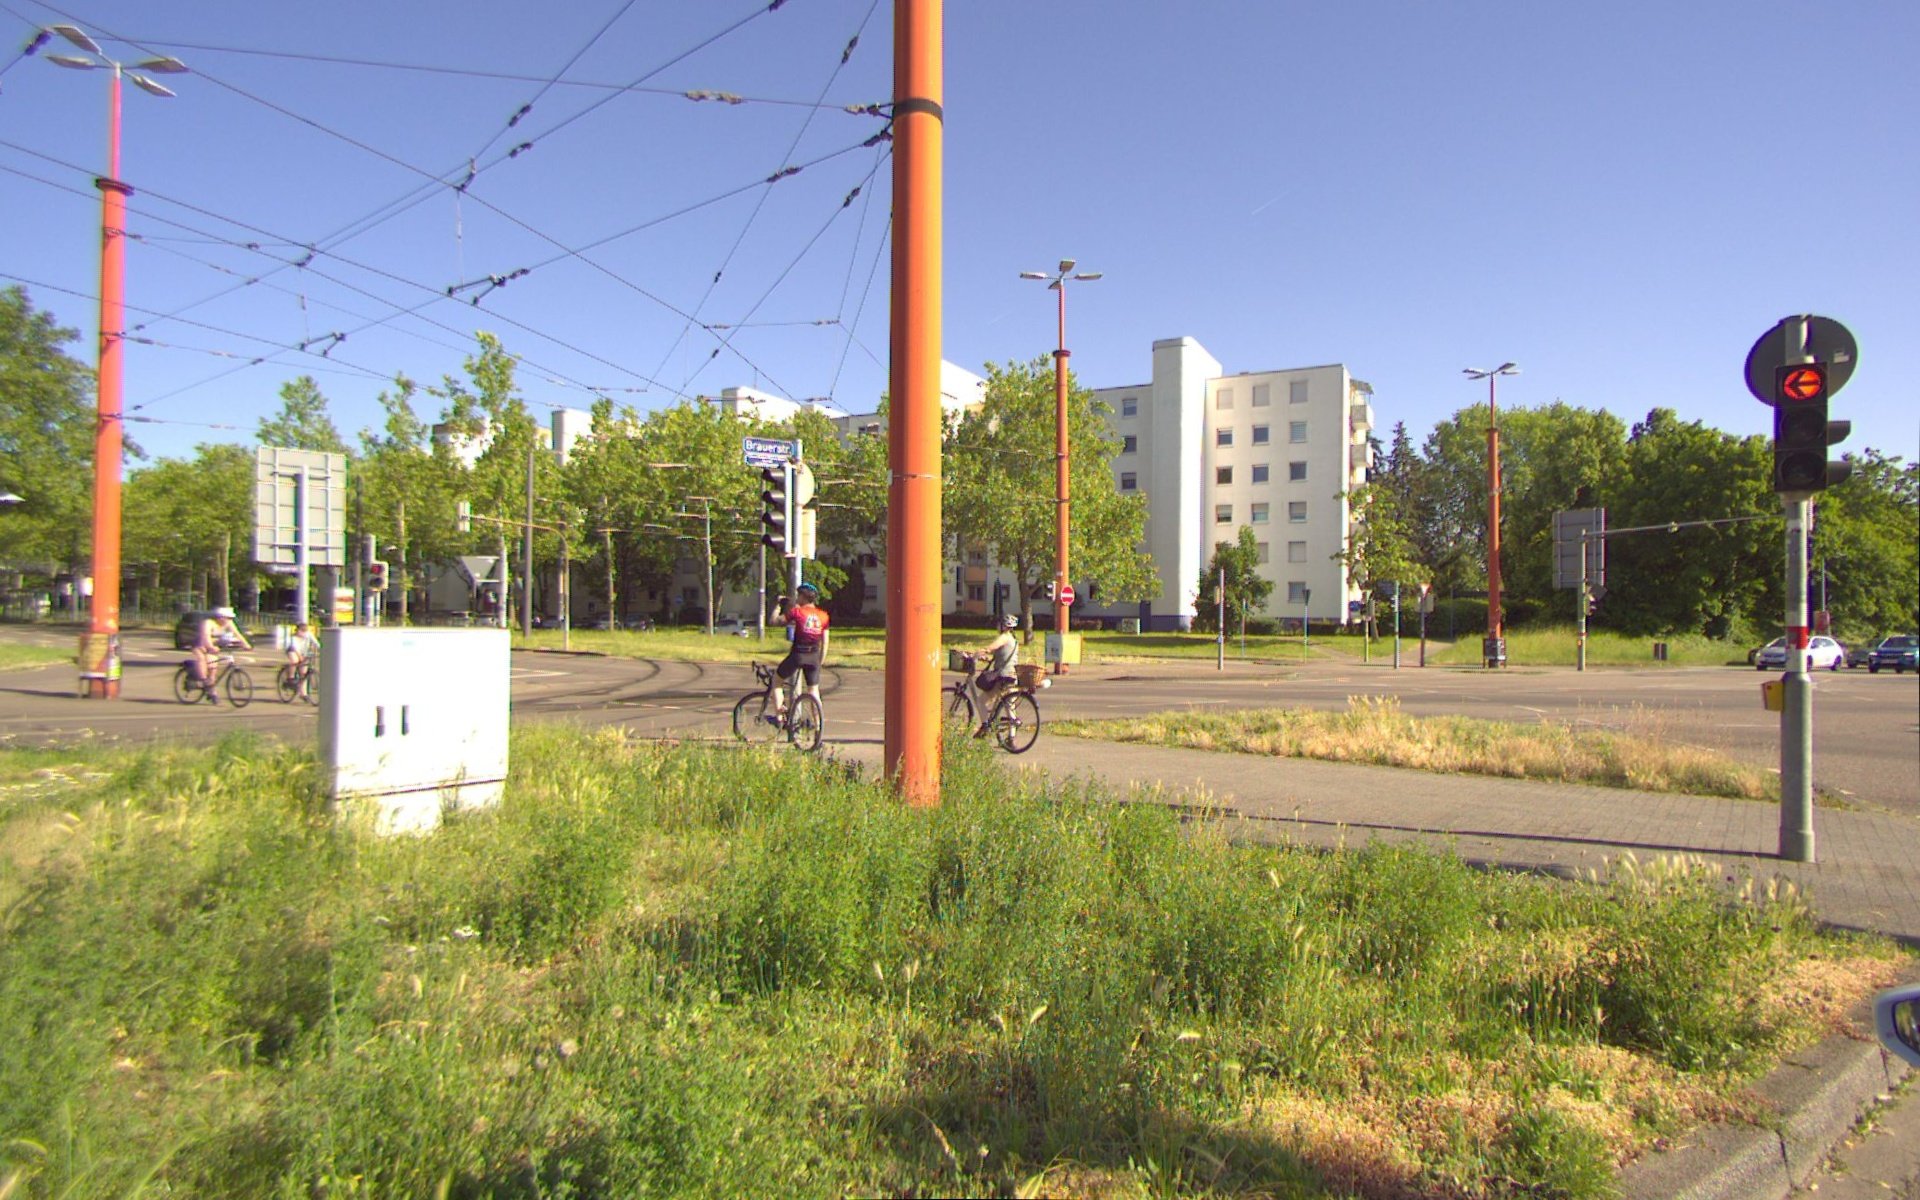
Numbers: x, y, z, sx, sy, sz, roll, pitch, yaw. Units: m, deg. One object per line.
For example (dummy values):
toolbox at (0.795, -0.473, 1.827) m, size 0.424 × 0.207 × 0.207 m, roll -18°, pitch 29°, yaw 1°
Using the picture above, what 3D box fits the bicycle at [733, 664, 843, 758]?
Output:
bicycle at (-2.125, 1.306, 12.230) m, size 0.915 × 0.976 × 1.747 m, roll 1°, pitch -1°, yaw -24°

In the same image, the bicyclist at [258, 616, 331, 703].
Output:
bicyclist at (-13.222, 1.161, 19.962) m, size 0.726 × 1.659 × 0.934 m, roll 0°, pitch -1°, yaw 18°

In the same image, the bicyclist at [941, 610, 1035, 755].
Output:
bicyclist at (0.349, 0.956, 12.092) m, size 0.728 × 1.659 × 0.931 m, roll 0°, pitch -1°, yaw 35°

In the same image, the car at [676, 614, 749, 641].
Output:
car at (-14.376, 1.574, 58.276) m, size 4.149 × 1.471 × 1.795 m, roll 0°, pitch -1°, yaw 33°

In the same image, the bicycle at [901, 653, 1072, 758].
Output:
bicycle at (0.304, 1.225, 12.116) m, size 1.855 × 1.102 × 0.925 m, roll 0°, pitch -1°, yaw 34°

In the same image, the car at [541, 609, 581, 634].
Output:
car at (-31.209, 1.677, 78.670) m, size 1.963 × 1.840 × 3.995 m, roll 1°, pitch -1°, yaw -8°

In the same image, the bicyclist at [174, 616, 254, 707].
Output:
bicyclist at (-14.013, 1.133, 18.890) m, size 0.726 × 1.659 × 0.934 m, roll 0°, pitch -1°, yaw 18°

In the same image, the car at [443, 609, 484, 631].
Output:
car at (-42.690, 1.701, 86.438) m, size 1.963 × 1.840 × 3.995 m, roll 1°, pitch -1°, yaw -8°

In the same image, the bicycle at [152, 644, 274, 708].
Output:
bicycle at (-14.039, 1.411, 18.889) m, size 1.849 × 1.102 × 0.928 m, roll 0°, pitch -1°, yaw 18°

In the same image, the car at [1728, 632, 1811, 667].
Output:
car at (40.654, 2.464, 50.445) m, size 4.174 × 1.619 × 1.983 m, roll 1°, pitch -1°, yaw -32°

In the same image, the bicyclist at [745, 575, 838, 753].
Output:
bicyclist at (-2.016, 0.745, 12.000) m, size 0.921 × 2.040 × 0.736 m, roll 1°, pitch -1°, yaw -25°

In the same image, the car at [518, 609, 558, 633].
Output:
car at (-33.825, 1.672, 80.520) m, size 1.963 × 1.840 × 3.995 m, roll 1°, pitch -1°, yaw -8°

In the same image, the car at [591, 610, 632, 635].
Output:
car at (-26.125, 1.687, 75.321) m, size 1.962 × 1.840 × 3.997 m, roll 1°, pitch -1°, yaw -5°

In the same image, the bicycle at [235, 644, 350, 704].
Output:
bicycle at (-13.262, 1.441, 19.974) m, size 1.849 × 1.102 × 0.928 m, roll 0°, pitch -1°, yaw 18°

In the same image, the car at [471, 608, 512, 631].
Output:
car at (-39.300, 1.642, 84.317) m, size 1.963 × 1.840 × 3.995 m, roll 1°, pitch -1°, yaw -8°

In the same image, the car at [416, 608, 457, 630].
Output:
car at (-46.039, 1.677, 88.467) m, size 1.963 × 1.840 × 3.995 m, roll 1°, pitch -1°, yaw -8°

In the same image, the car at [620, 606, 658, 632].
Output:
car at (-23.419, 1.400, 73.410) m, size 1.963 × 1.840 × 3.995 m, roll 1°, pitch -1°, yaw -8°

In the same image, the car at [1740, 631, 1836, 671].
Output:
car at (35.131, 2.152, 42.604) m, size 4.075 × 1.594 × 1.983 m, roll 1°, pitch -1°, yaw -32°

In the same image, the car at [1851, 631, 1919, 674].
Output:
car at (37.255, 2.039, 39.863) m, size 4.079 × 1.594 × 1.981 m, roll 2°, pitch -1°, yaw -35°

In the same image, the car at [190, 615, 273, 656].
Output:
car at (-30.773, 1.464, 42.392) m, size 3.848 × 1.615 × 1.935 m, roll 0°, pitch -2°, yaw 39°
